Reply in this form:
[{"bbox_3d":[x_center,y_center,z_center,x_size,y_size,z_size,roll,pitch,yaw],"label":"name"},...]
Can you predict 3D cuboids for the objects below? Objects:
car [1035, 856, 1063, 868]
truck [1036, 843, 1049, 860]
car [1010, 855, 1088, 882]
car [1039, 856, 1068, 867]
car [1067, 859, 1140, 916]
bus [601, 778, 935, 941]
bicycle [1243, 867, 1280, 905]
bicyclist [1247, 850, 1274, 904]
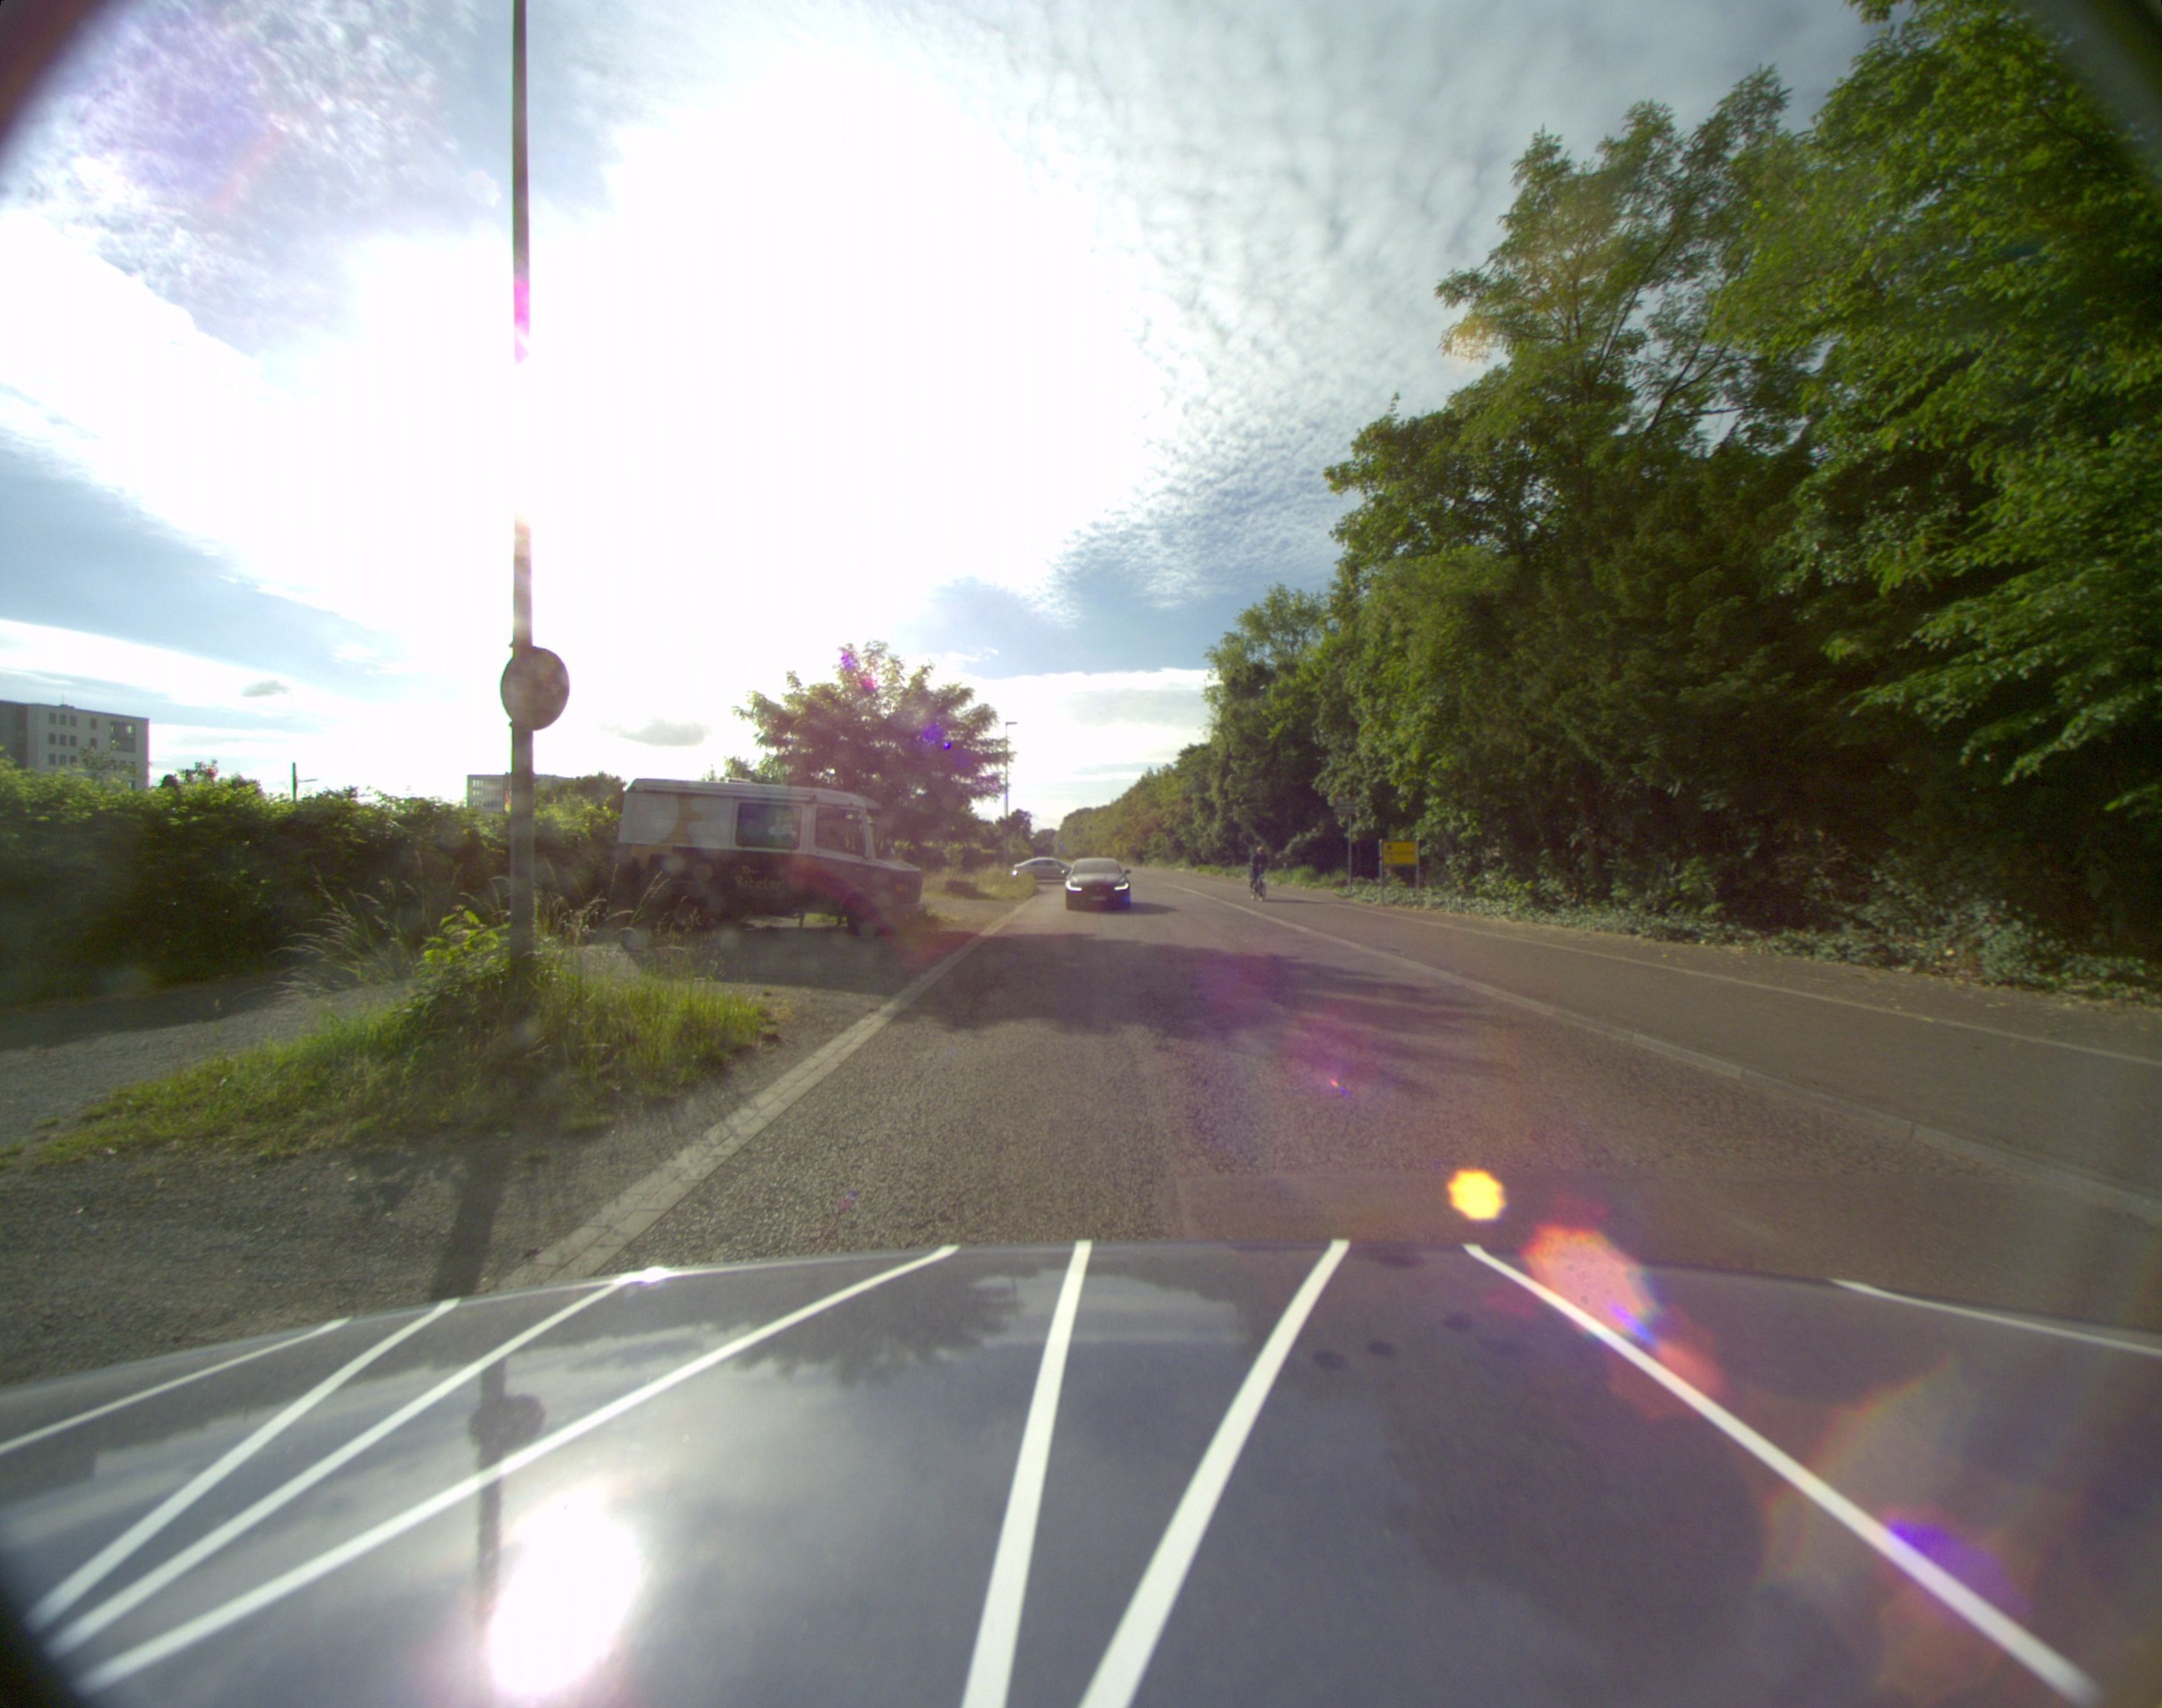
[{"bbox_3d":[-4.609,1.112,109.209,3.867,1.481,1.692,3,-1,-1],"label":"car"},{"bbox_3d":[-9.589,-0.520,189.592,2.604,3.935,6.279,4,-1,-8],"label":"truck"},{"bbox_3d":[-1.907,0.828,44.495,4.376,1.435,1.931,1,1,-9],"label":"car"},{"bbox_3d":[-4.328,1.169,120.232,4.599,1.689,1.763,1,0,1],"label":"car"},{"bbox_3d":[0.549,0.907,22.489,1.936,1.500,4.679,0,0,-1],"label":"car"},{"bbox_3d":[-5.647,0.127,14.326,5.380,2.730,2.068,1,0,-2],"label":"bus"},{"bbox_3d":[5.689,0.996,24.080,0.664,1.091,2.348,-1,0,1],"label":"bicycle"},{"bbox_3d":[5.686,0.710,24.073,0.610,1.667,0.883,-1,1,1],"label":"bicyclist"}]
